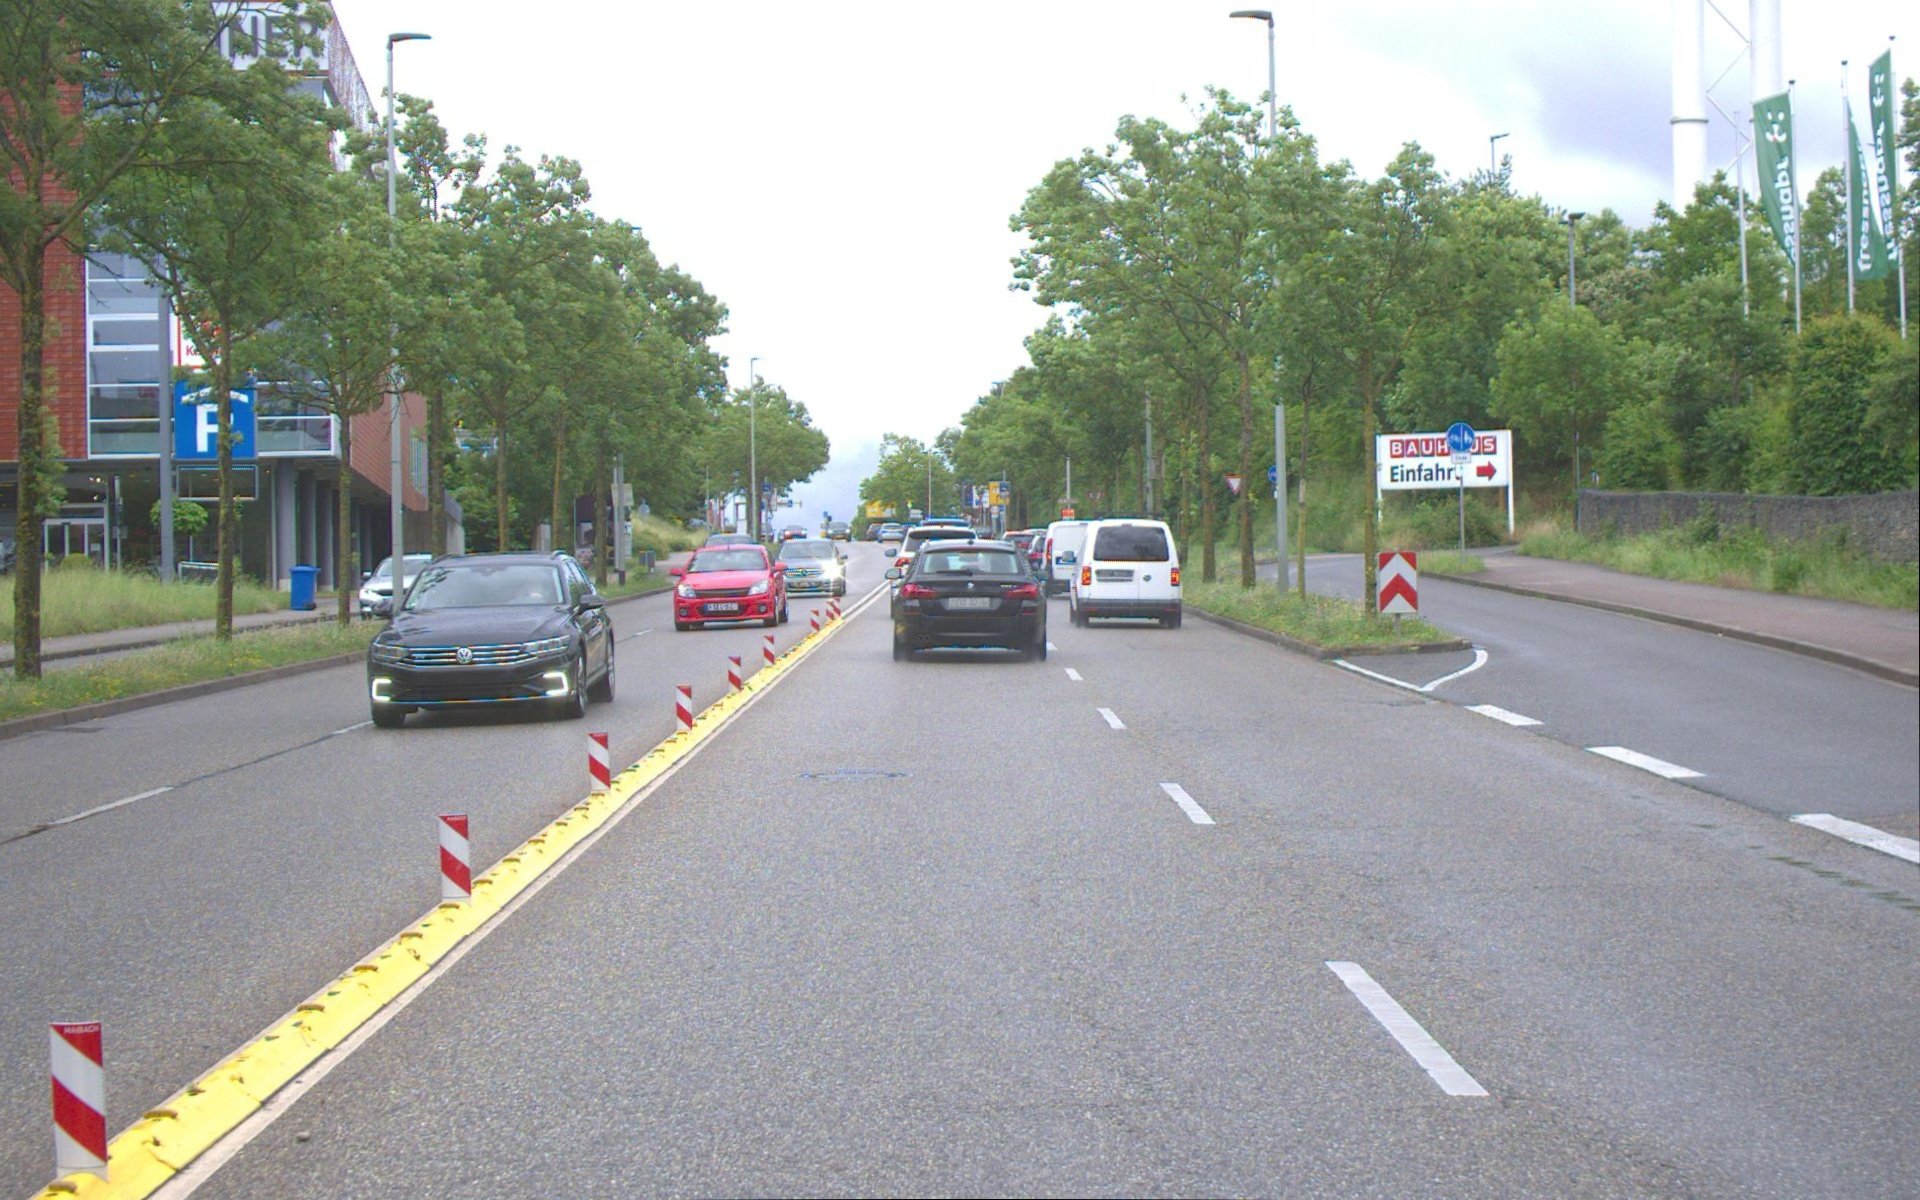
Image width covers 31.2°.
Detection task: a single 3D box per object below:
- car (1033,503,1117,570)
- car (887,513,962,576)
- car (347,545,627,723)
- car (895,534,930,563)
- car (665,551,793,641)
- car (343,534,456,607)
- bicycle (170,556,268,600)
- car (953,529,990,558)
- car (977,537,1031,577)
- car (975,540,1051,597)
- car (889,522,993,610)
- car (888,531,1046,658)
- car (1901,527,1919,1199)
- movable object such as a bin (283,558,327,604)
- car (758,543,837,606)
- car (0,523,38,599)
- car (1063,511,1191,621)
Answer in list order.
[{"bbox_3d":[2.688,-1.484,81.283,1.794,1.505,4.000,1,0,0],"label":"car"},{"bbox_3d":[-0.919,-1.373,86.045,1.794,1.505,4.000,1,0,-1],"label":"car"},{"bbox_3d":[-4.199,0.247,31.198,1.827,1.461,4.616,-1,1,1],"label":"car"},{"bbox_3d":[-2.555,-2.754,184.453,1.794,1.505,4.000,1,0,-2],"label":"car"},{"bbox_3d":[-3.908,-0.095,58.722,1.762,1.420,4.180,-1,1,1],"label":"car"},{"bbox_3d":[-13.000,-0.711,79.923,1.867,1.547,4.576,-3,1,-1],"label":"car"},{"bbox_3d":[-18.136,-0.546,84.211,2.077,0.932,1.093,4,1,4],"label":"bicycle"},{"bbox_3d":[0.604,-3.036,184.657,1.794,1.505,4.000,1,0,-2],"label":"car"},{"bbox_3d":[1.724,-1.689,135.486,1.794,1.505,4.001,1,0,-3],"label":"car"},{"bbox_3d":[1.455,-0.878,95.656,1.794,1.505,4.001,1,0,-3],"label":"car"},{"bbox_3d":[-0.354,-0.615,62.360,1.794,1.505,4.000,1,0,0],"label":"car"},{"bbox_3d":[0.120,-0.104,42.275,1.827,1.463,4.000,-1,1,1],"label":"car"},{"bbox_3d":[2.941,0.674,5.347,1.685,1.575,4.219,1,1,-1],"label":"car"},{"bbox_3d":[-16.215,-0.471,85.164,0.819,1.075,1.086,3,1,0],"label":"movable object such as a bin"},{"bbox_3d":[-3.974,-0.643,84.580,1.667,1.405,4.378,-3,1,0],"label":"car"},{"bbox_3d":[-24.605,-0.987,85.806,2.137,1.767,4.609,0,2,-3],"label":"car"},{"bbox_3d":[2.762,-0.594,57.704,1.827,1.753,4.000,1,1,-1],"label":"car"}]
